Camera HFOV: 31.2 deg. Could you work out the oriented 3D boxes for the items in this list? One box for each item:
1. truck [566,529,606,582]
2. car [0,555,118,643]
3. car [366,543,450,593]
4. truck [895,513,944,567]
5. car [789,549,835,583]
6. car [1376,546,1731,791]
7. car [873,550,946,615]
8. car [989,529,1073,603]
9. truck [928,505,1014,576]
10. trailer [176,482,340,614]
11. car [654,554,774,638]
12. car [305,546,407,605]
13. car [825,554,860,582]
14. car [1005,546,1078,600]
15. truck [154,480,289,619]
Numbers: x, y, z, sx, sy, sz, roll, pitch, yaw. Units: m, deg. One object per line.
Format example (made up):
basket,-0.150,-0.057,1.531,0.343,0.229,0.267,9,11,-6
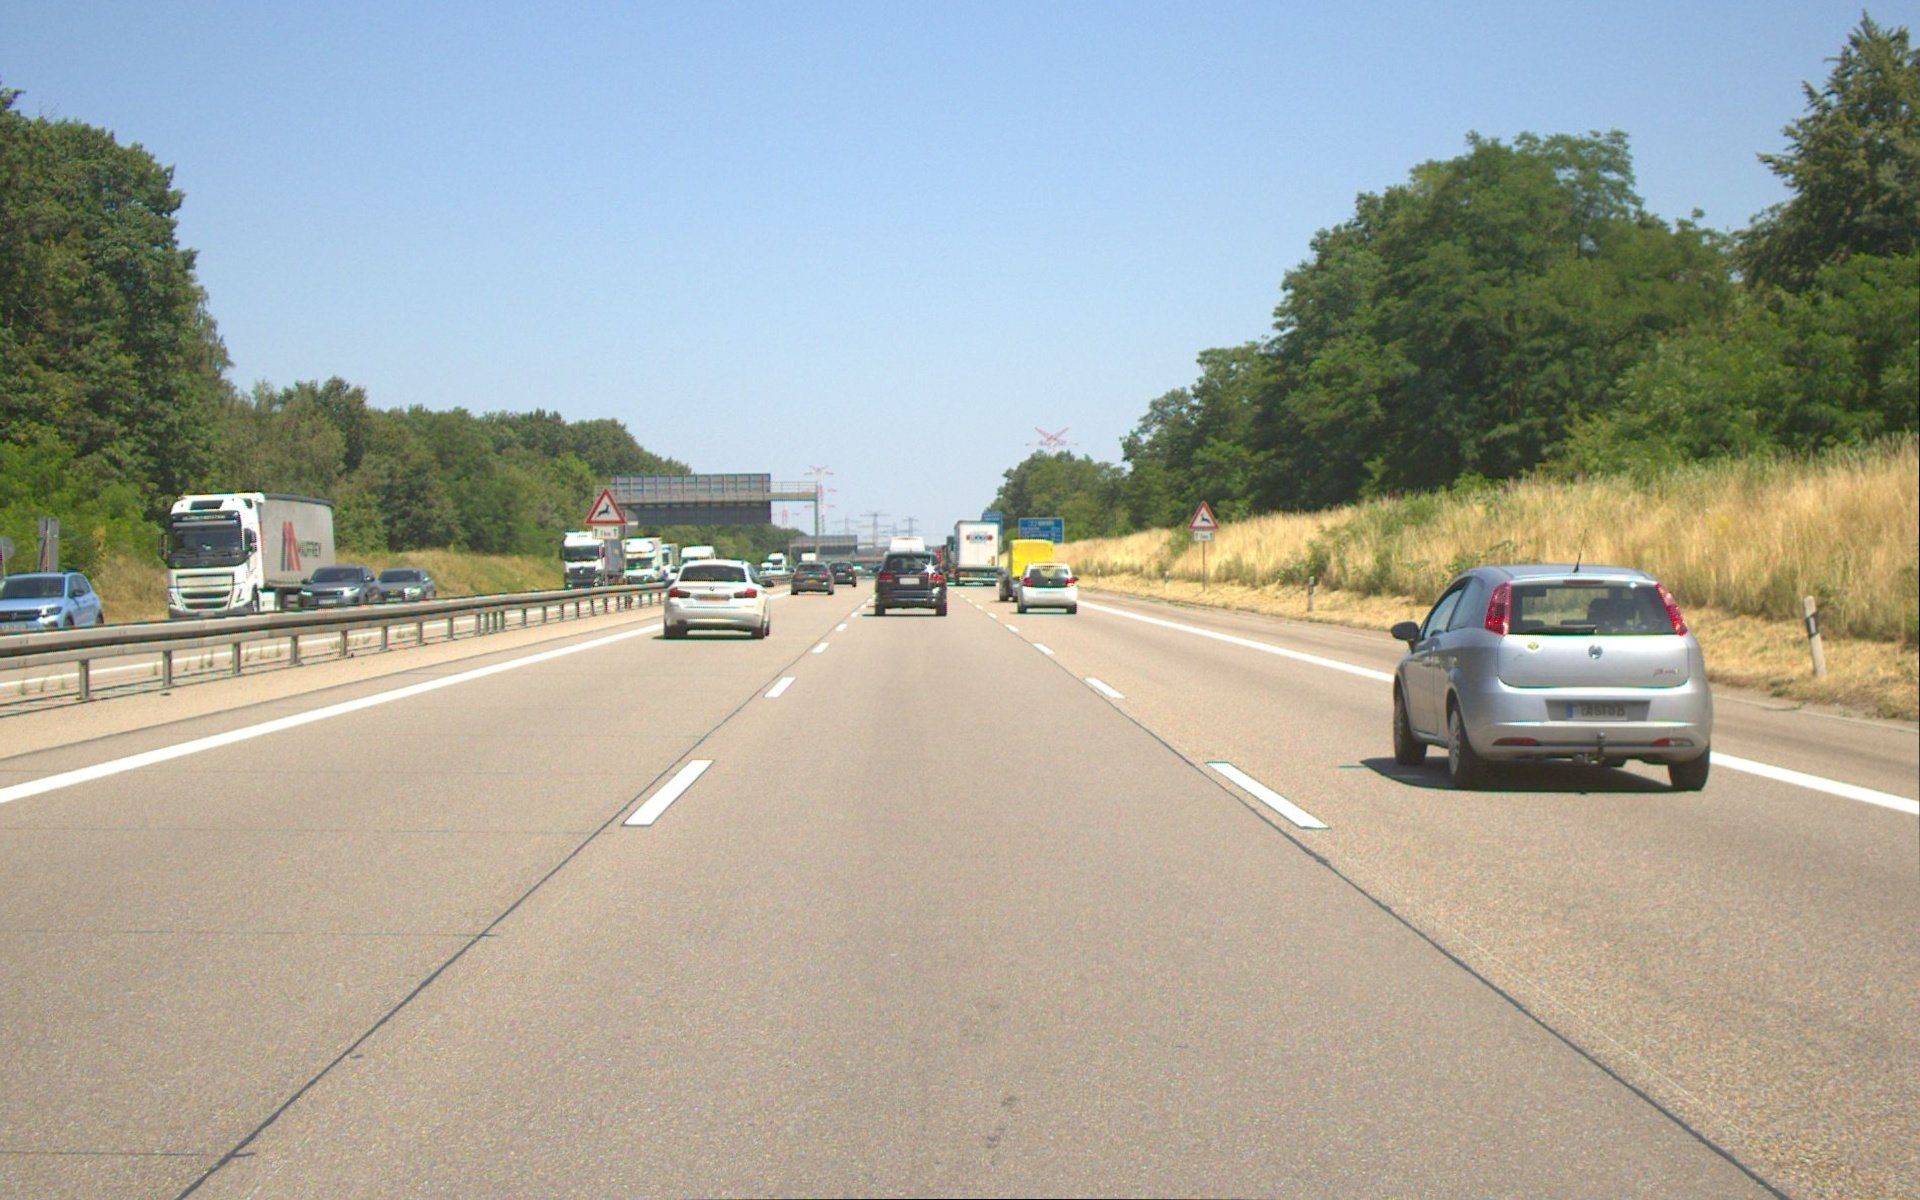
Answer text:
truck,-24.318,-2.905,223.648,2.119,3.333,4.000,-1,1,-1
car,-17.760,-0.030,66.105,1.993,1.562,4.528,-3,1,0
car,-18.679,-1.110,116.601,1.993,1.562,5.190,-3,1,0
truck,-2.221,-3.214,185.843,2.428,2.874,6.206,1,0,-2
car,-6.397,-1.495,149.215,1.832,1.427,5.000,0,1,-1
car,3.993,0.406,23.686,1.719,1.486,3.737,1,2,-1
car,-1.383,-0.484,92.554,1.831,1.666,4.001,1,1,-3
car,2.563,-1.256,126.426,2.666,2.625,6.114,1,0,-2
truck,0.649,-3.763,218.100,3.991,4.300,9.884,2,1,-8
trailer,-22.941,-1.702,113.158,2.911,3.978,12.959,-3,1,-2
car,-4.602,-0.111,65.001,1.963,1.498,5.405,0,1,-1
car,-17.237,-0.711,98.352,1.993,1.562,5.190,-3,1,0
car,-6.802,-1.870,199.501,1.876,1.575,3.928,0,2,1
car,2.308,-0.779,98.644,1.821,1.486,3.737,1,0,-3
truck,-22.747,-1.568,106.117,2.904,4.053,5.654,-3,1,-2
